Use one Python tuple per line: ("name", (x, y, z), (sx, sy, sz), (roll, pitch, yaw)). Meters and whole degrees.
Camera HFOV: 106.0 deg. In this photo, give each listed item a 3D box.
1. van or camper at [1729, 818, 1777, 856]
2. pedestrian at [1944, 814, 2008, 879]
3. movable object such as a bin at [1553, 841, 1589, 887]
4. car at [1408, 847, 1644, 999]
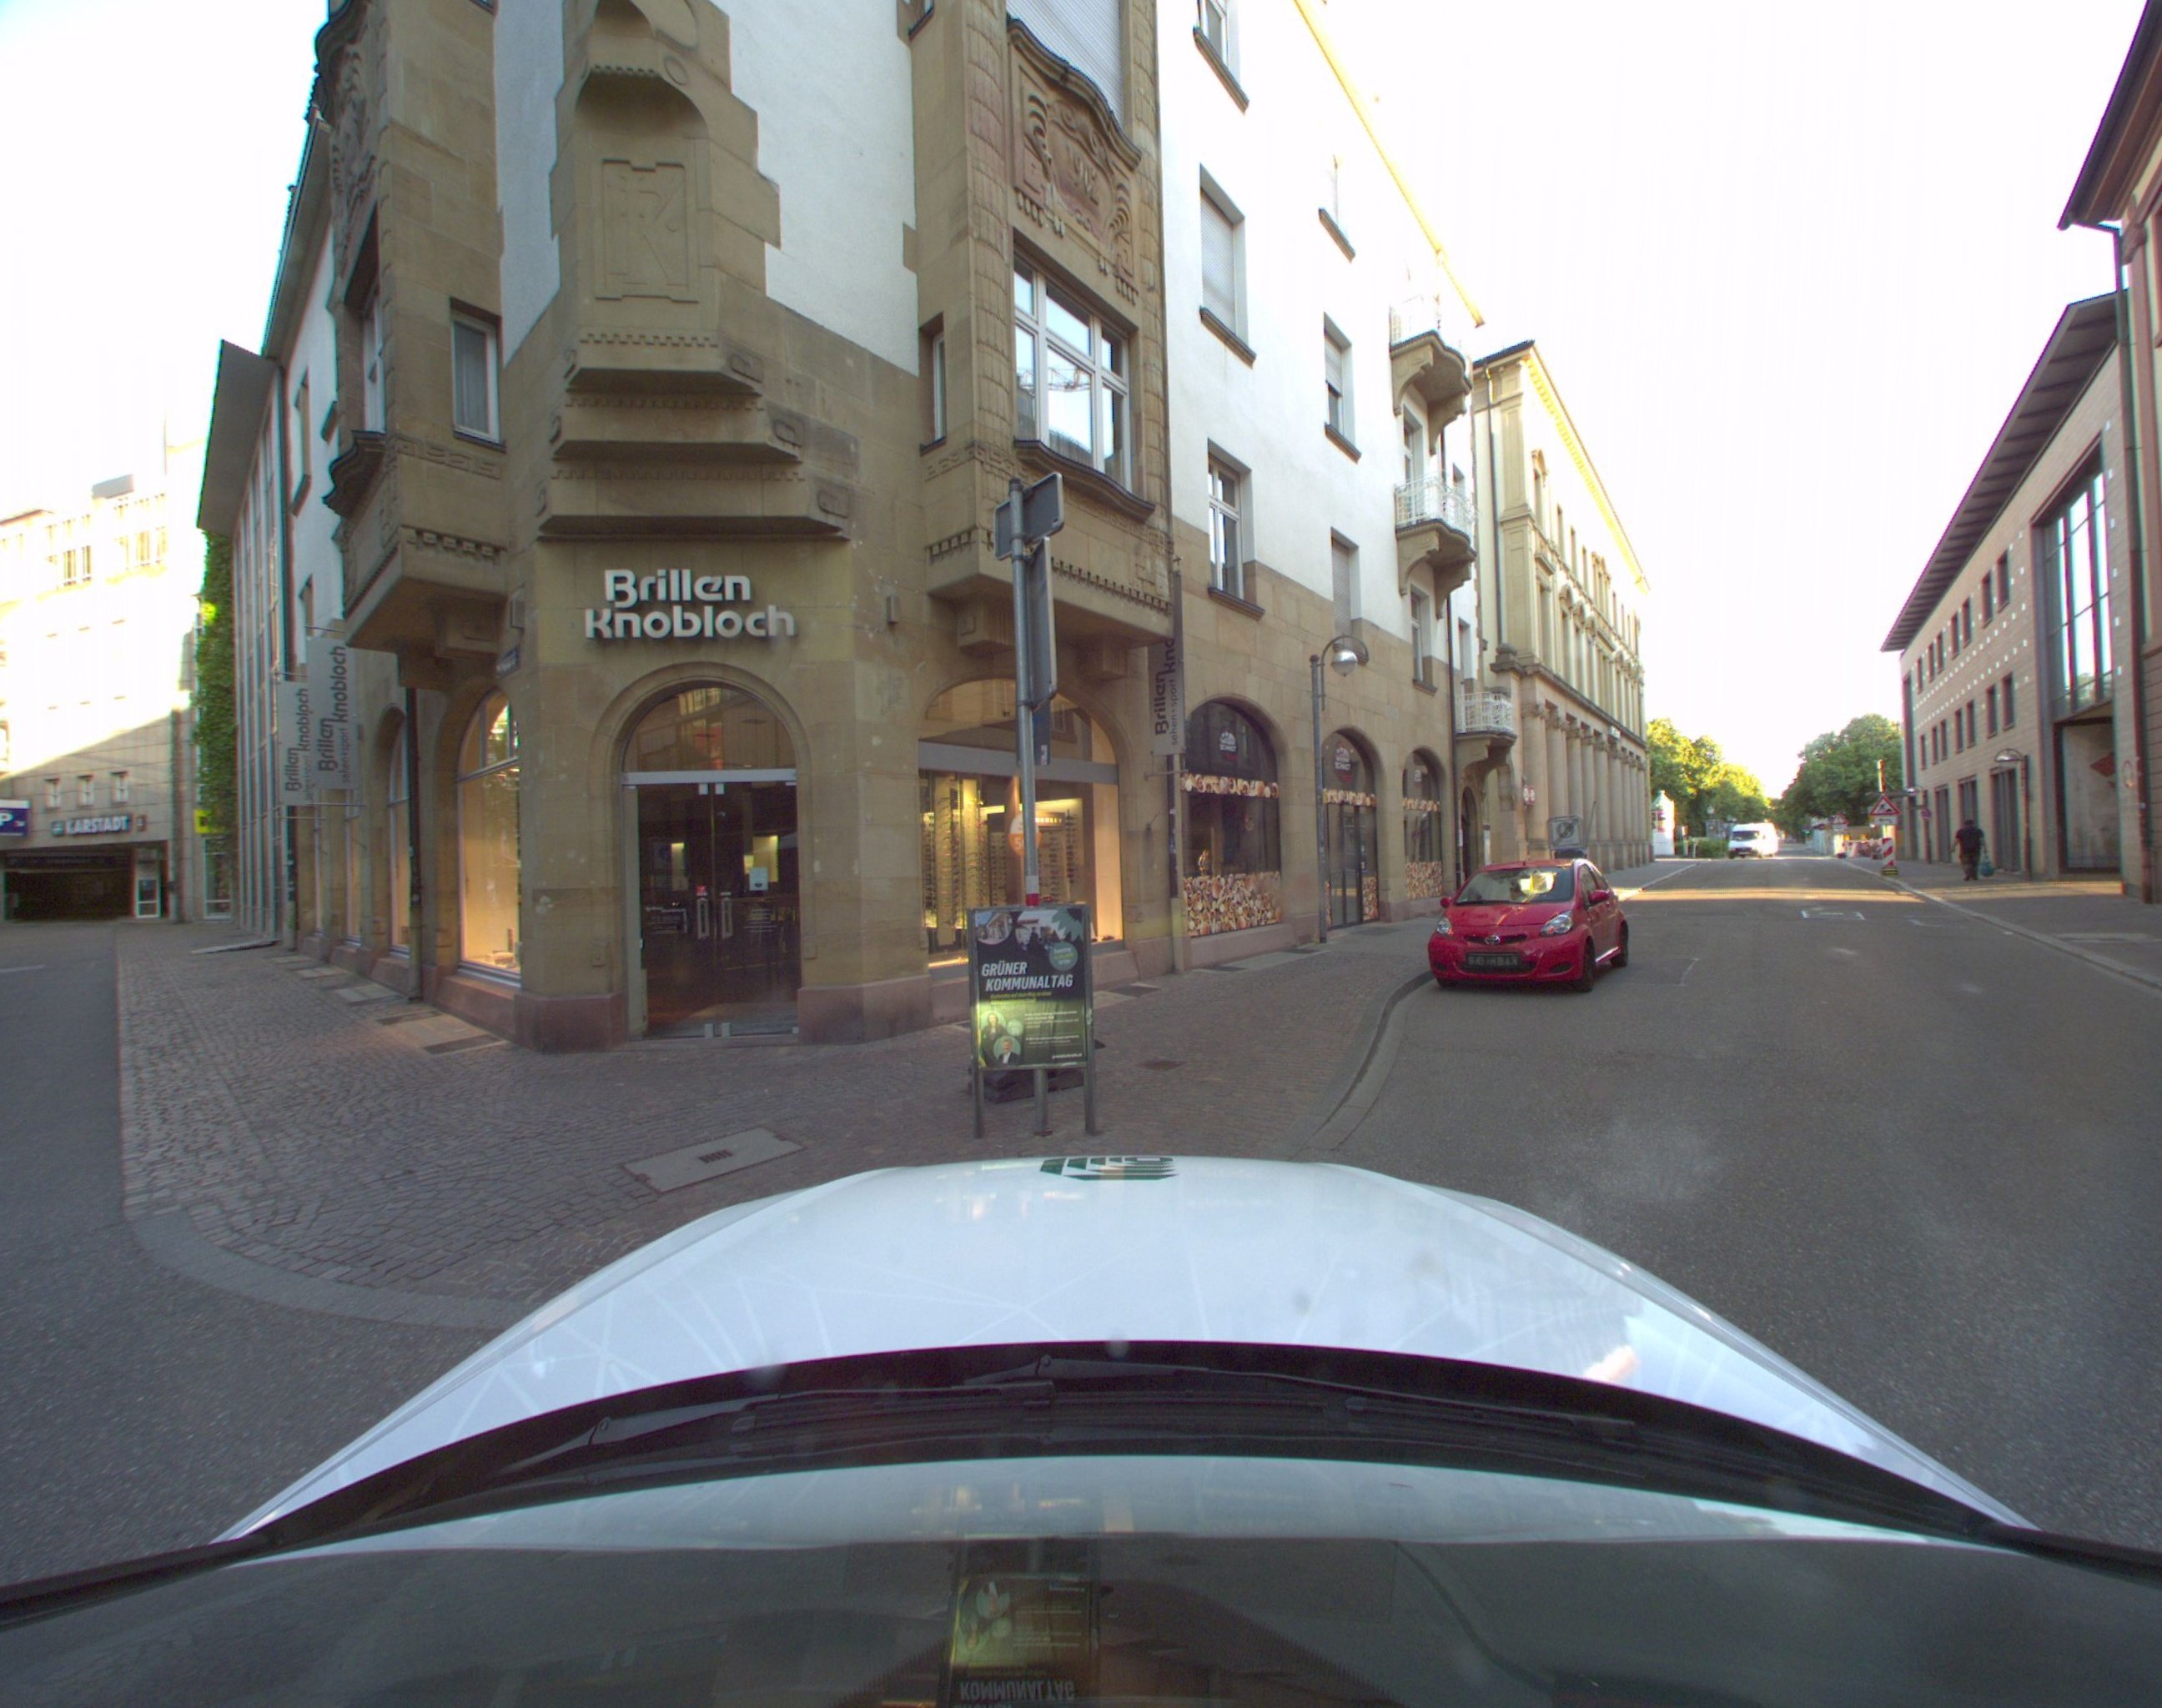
("van or camper", (48.518, -1.223, 58.761), (2.198, 2.585, 6.411), (-2, 0, 43))
("pedestrian", (26.200, -0.205, 23.867), (0.991, 1.803, 0.887), (-7, -5, 40))
("movable object such as a bin", (16.796, 0.326, 27.897), (0.821, 1.503, 1.299), (-1, 0, 42))
("car", (5.706, 0.730, 10.204), (1.641, 1.470, 3.956), (-5, -2, 42))
